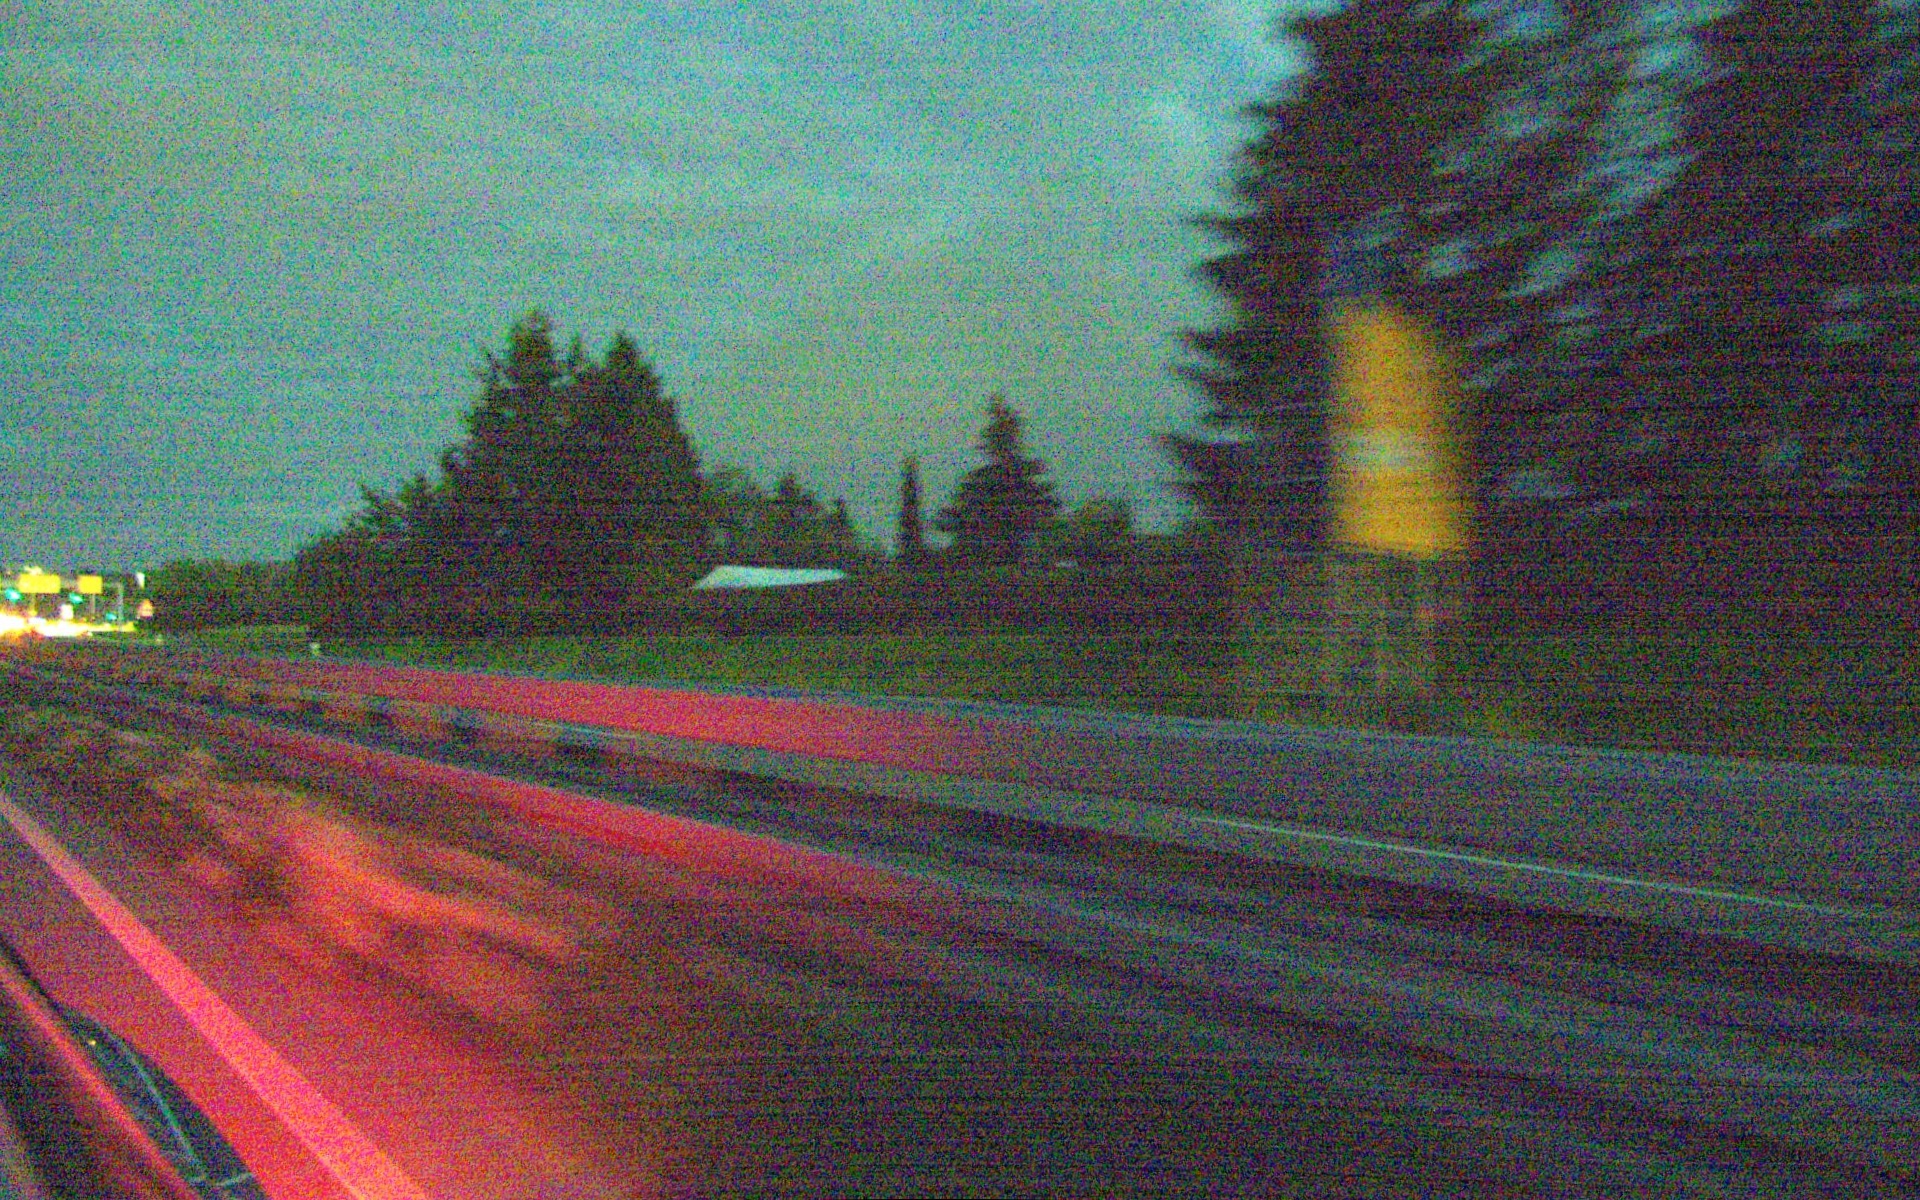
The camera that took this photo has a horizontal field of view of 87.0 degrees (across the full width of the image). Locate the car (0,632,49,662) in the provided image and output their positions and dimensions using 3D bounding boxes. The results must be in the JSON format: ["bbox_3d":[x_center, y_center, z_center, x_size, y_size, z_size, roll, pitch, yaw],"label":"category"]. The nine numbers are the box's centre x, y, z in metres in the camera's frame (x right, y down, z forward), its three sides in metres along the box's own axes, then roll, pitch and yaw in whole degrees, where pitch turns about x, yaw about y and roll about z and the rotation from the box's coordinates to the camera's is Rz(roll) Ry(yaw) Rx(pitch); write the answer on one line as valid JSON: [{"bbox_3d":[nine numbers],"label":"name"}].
[{"bbox_3d":[-48.825,2.416,52.589,4.572,1.418,1.702,-1,0,41],"label":"car"}]

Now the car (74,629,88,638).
[{"bbox_3d":[-152.113,5.781,175.144,1.632,1.487,4.007,0,0,-39],"label":"car"}]
